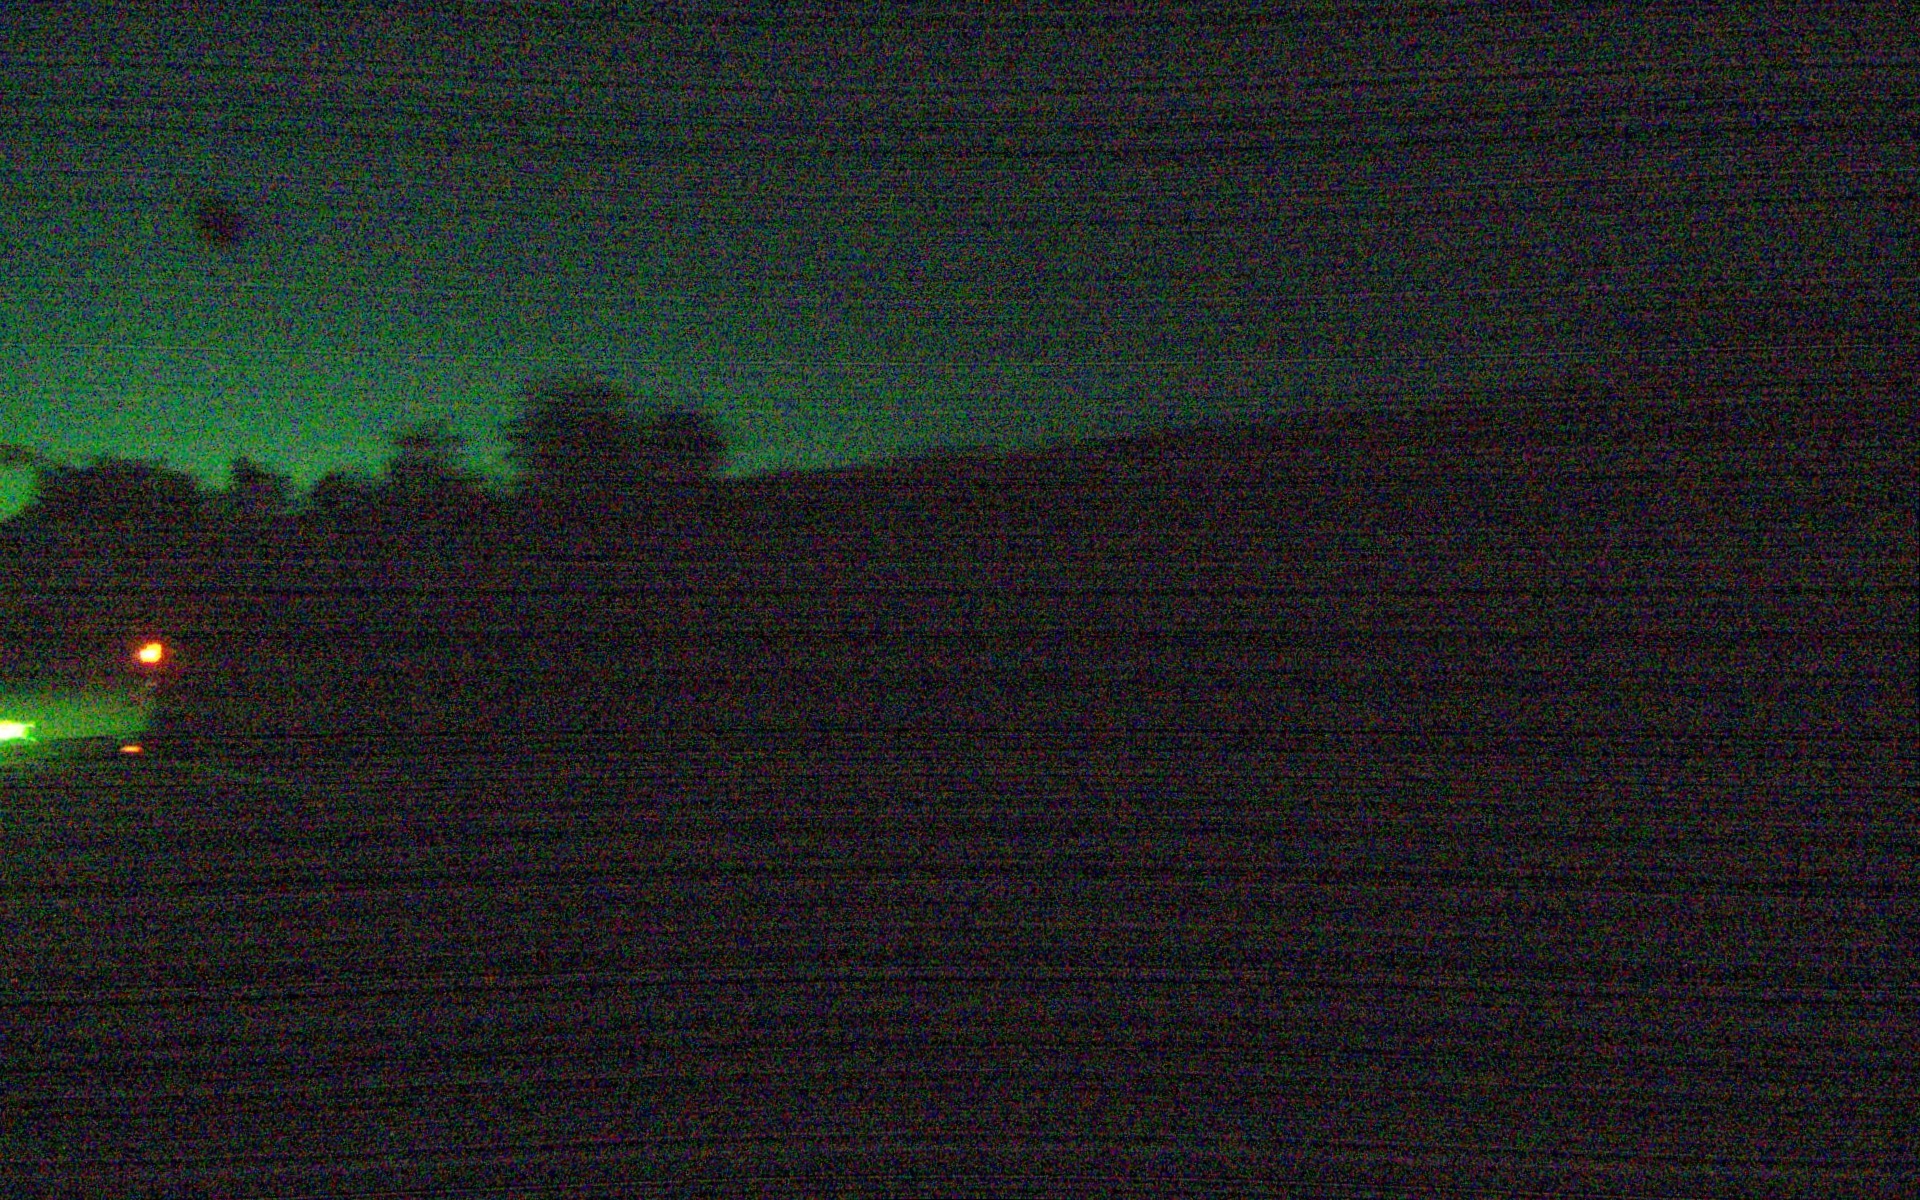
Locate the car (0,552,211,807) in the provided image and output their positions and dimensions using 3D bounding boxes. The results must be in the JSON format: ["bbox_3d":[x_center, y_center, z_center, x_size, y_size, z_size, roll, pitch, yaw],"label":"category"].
[{"bbox_3d":[-9.785,0.695,9.775,5.583,2.026,2.112,-1,-2,32],"label":"car"}]
